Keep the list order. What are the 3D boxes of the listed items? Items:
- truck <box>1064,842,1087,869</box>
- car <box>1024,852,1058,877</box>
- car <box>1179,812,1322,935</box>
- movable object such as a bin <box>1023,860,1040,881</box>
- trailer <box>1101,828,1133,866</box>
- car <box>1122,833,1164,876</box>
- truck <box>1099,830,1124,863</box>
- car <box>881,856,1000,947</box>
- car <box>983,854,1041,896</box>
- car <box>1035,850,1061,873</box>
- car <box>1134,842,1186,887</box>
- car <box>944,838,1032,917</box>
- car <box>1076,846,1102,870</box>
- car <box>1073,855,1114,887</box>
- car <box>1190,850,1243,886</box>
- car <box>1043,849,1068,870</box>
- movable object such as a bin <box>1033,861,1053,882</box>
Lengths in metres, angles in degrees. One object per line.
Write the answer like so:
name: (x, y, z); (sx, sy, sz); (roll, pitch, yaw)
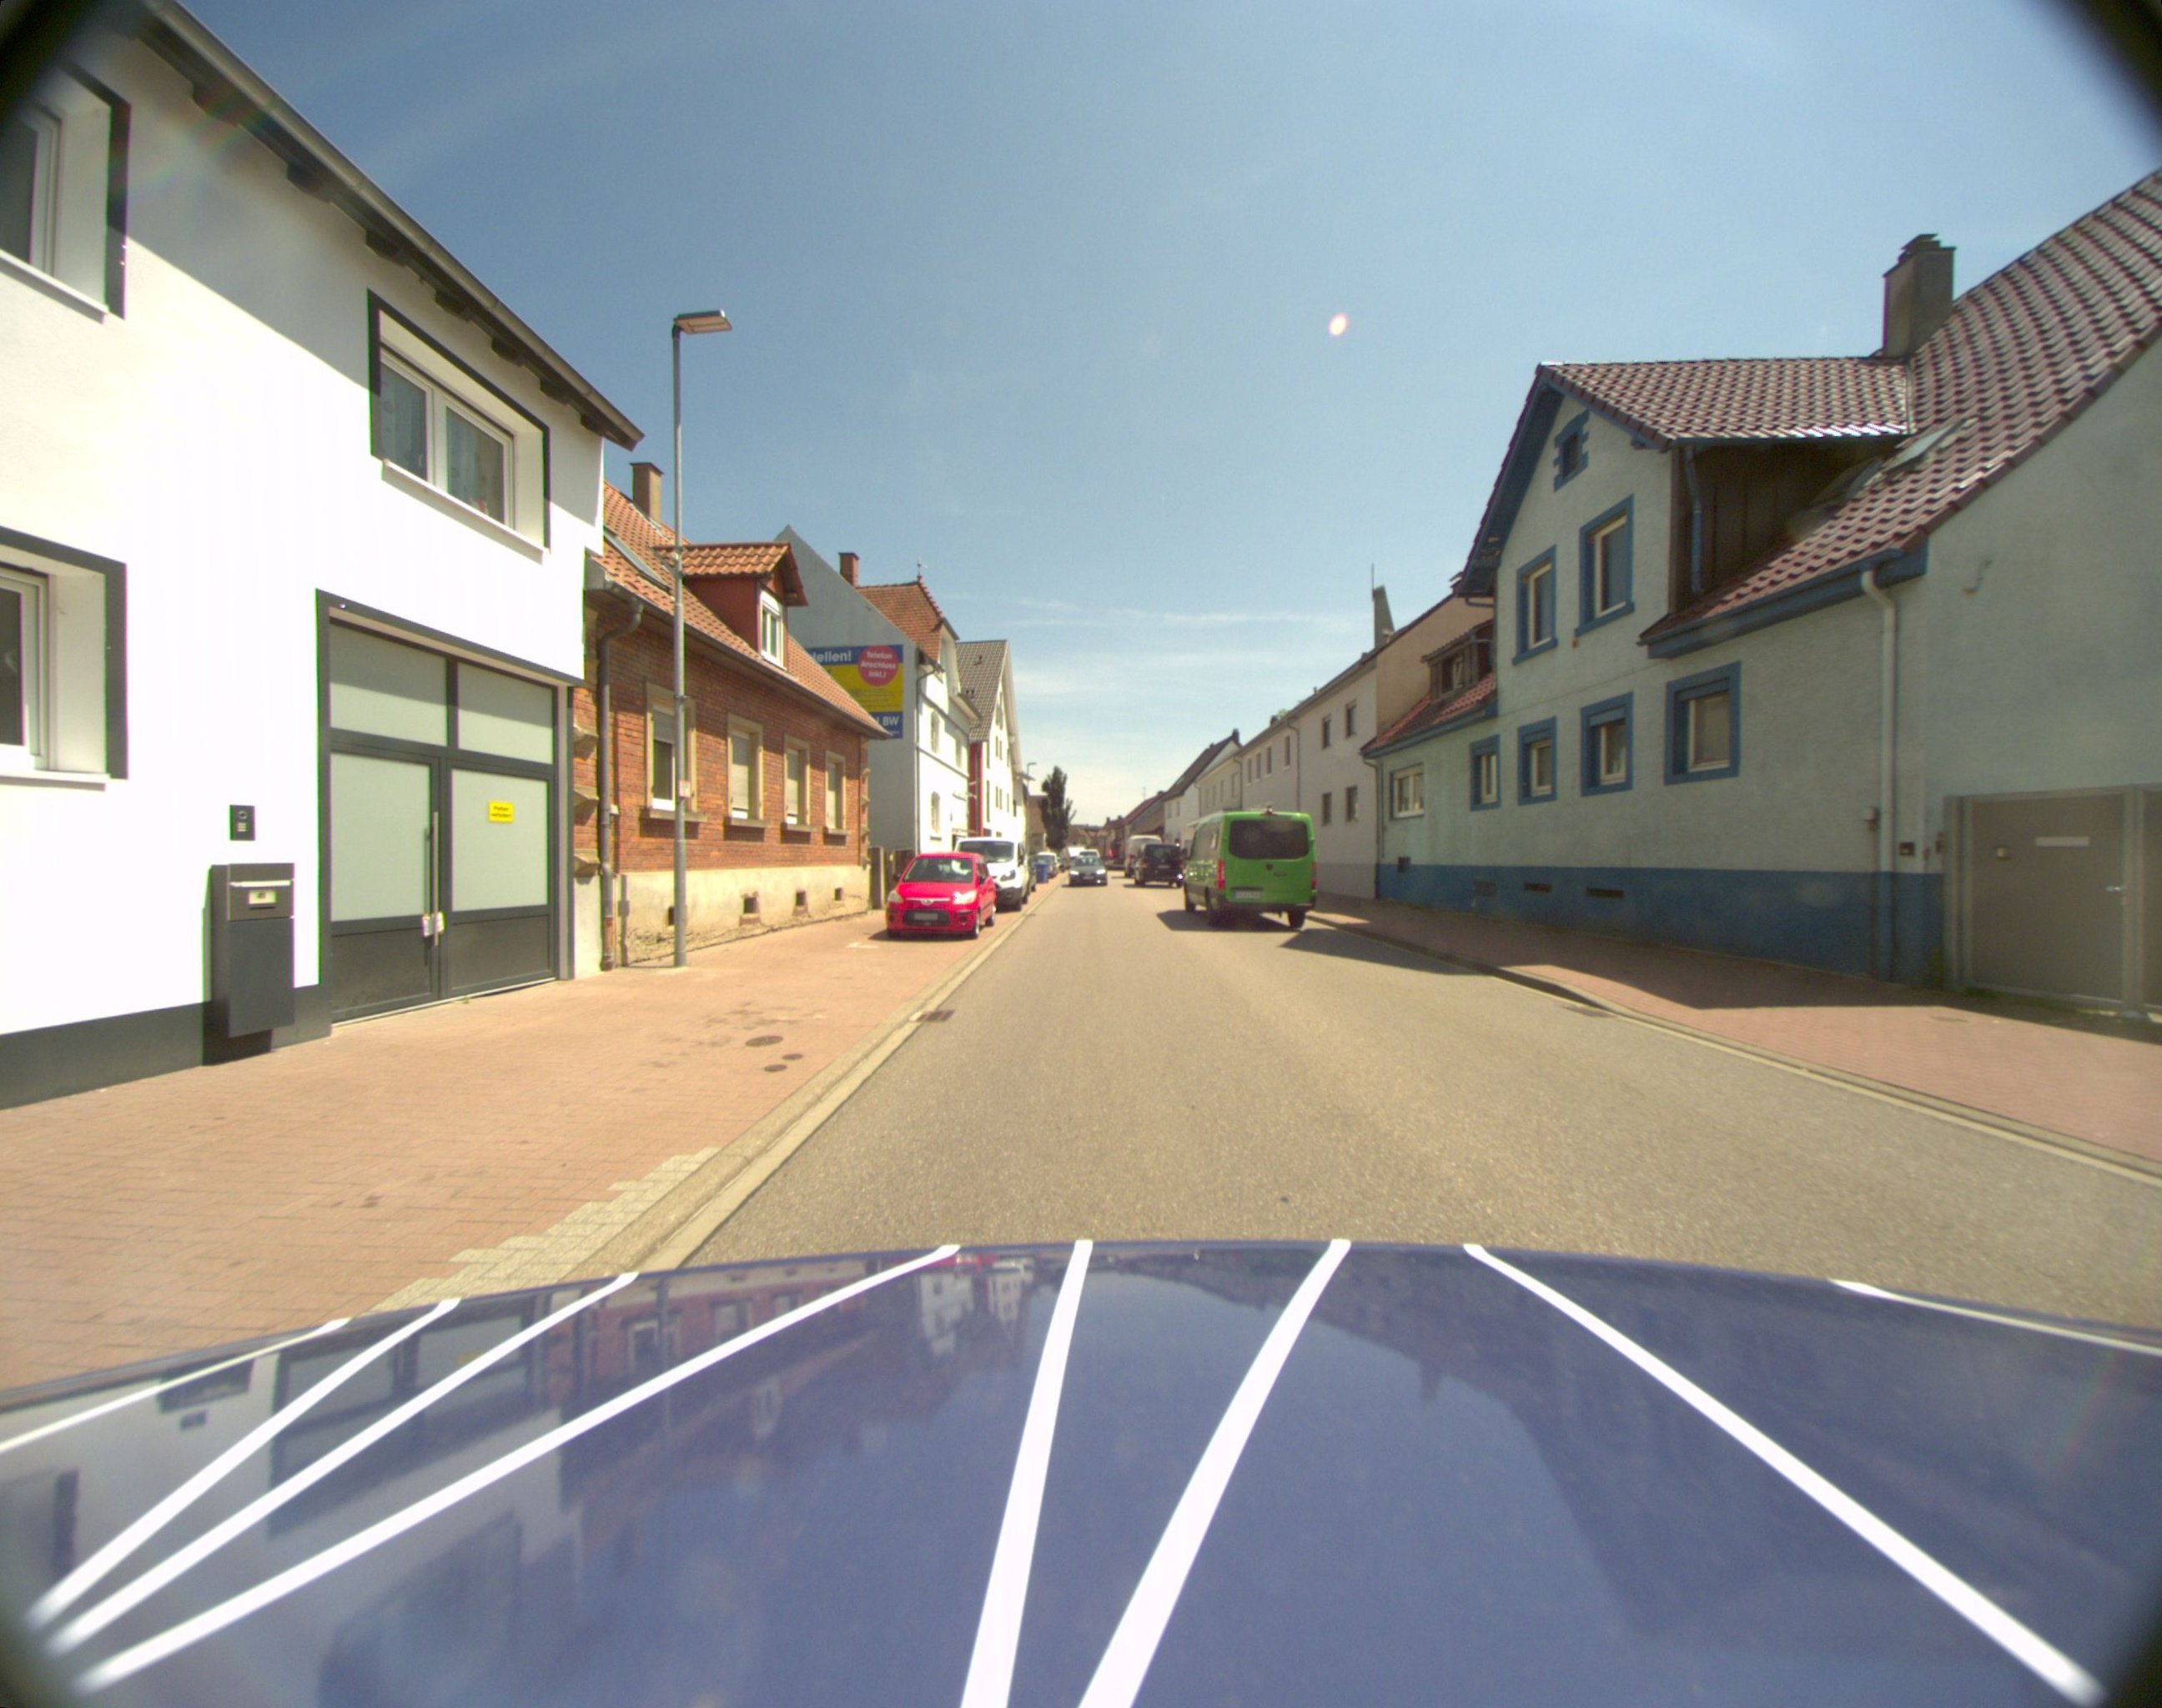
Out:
truck: (-0.711, 0.181, 99.925); (2.867, 3.491, 8.319); (1, 0, 0)
car: (-2.460, 0.611, 47.413); (1.704, 1.438, 4.836); (2, 0, 1)
car: (3.644, 0.364, 17.586); (2.056, 2.340, 6.082); (0, 0, 1)
movable object such as a bin: (-2.591, 0.849, 39.833); (0.655, 1.054, 0.836); (2, 1, 17)
trailer: (3.932, -0.818, 87.557); (2.637, 3.956, 15.695); (1, 0, -1)
car: (3.791, 0.016, 47.587); (2.130, 2.527, 5.461); (1, 0, -1)
truck: (3.770, -0.887, 95.088); (2.625, 3.962, 6.851); (1, 1, -1)
car: (-2.558, 0.808, 14.620); (1.614, 1.519, 3.676); (0, 0, 0)
car: (-2.578, 0.754, 29.339); (1.774, 1.457, 4.577); (0, 0, 1)
car: (-2.284, 0.535, 53.707); (1.611, 1.513, 3.544); (2, 0, 0)
car: (3.536, 0.436, 35.004); (1.886, 1.932, 5.117); (0, 0, 0)
car: (-2.478, 0.581, 21.424); (1.951, 1.959, 4.784); (0, 0, -1)
car: (0.671, 0.315, 64.364); (2.079, 1.949, 5.518); (-1, 0, 0)
car: (0.552, 0.757, 35.413); (1.786, 1.364, 3.607); (-1, 0, 0)
car: (6.572, 0.626, 37.214); (1.812, 1.548, 4.565); (-3, 0, 1)
car: (-2.011, 0.419, 61.652); (1.807, 1.604, 4.548); (1, 0, 0)
movable object such as a bin: (-1.921, 0.882, 38.749); (0.723, 1.067, 0.973); (2, 1, 17)
